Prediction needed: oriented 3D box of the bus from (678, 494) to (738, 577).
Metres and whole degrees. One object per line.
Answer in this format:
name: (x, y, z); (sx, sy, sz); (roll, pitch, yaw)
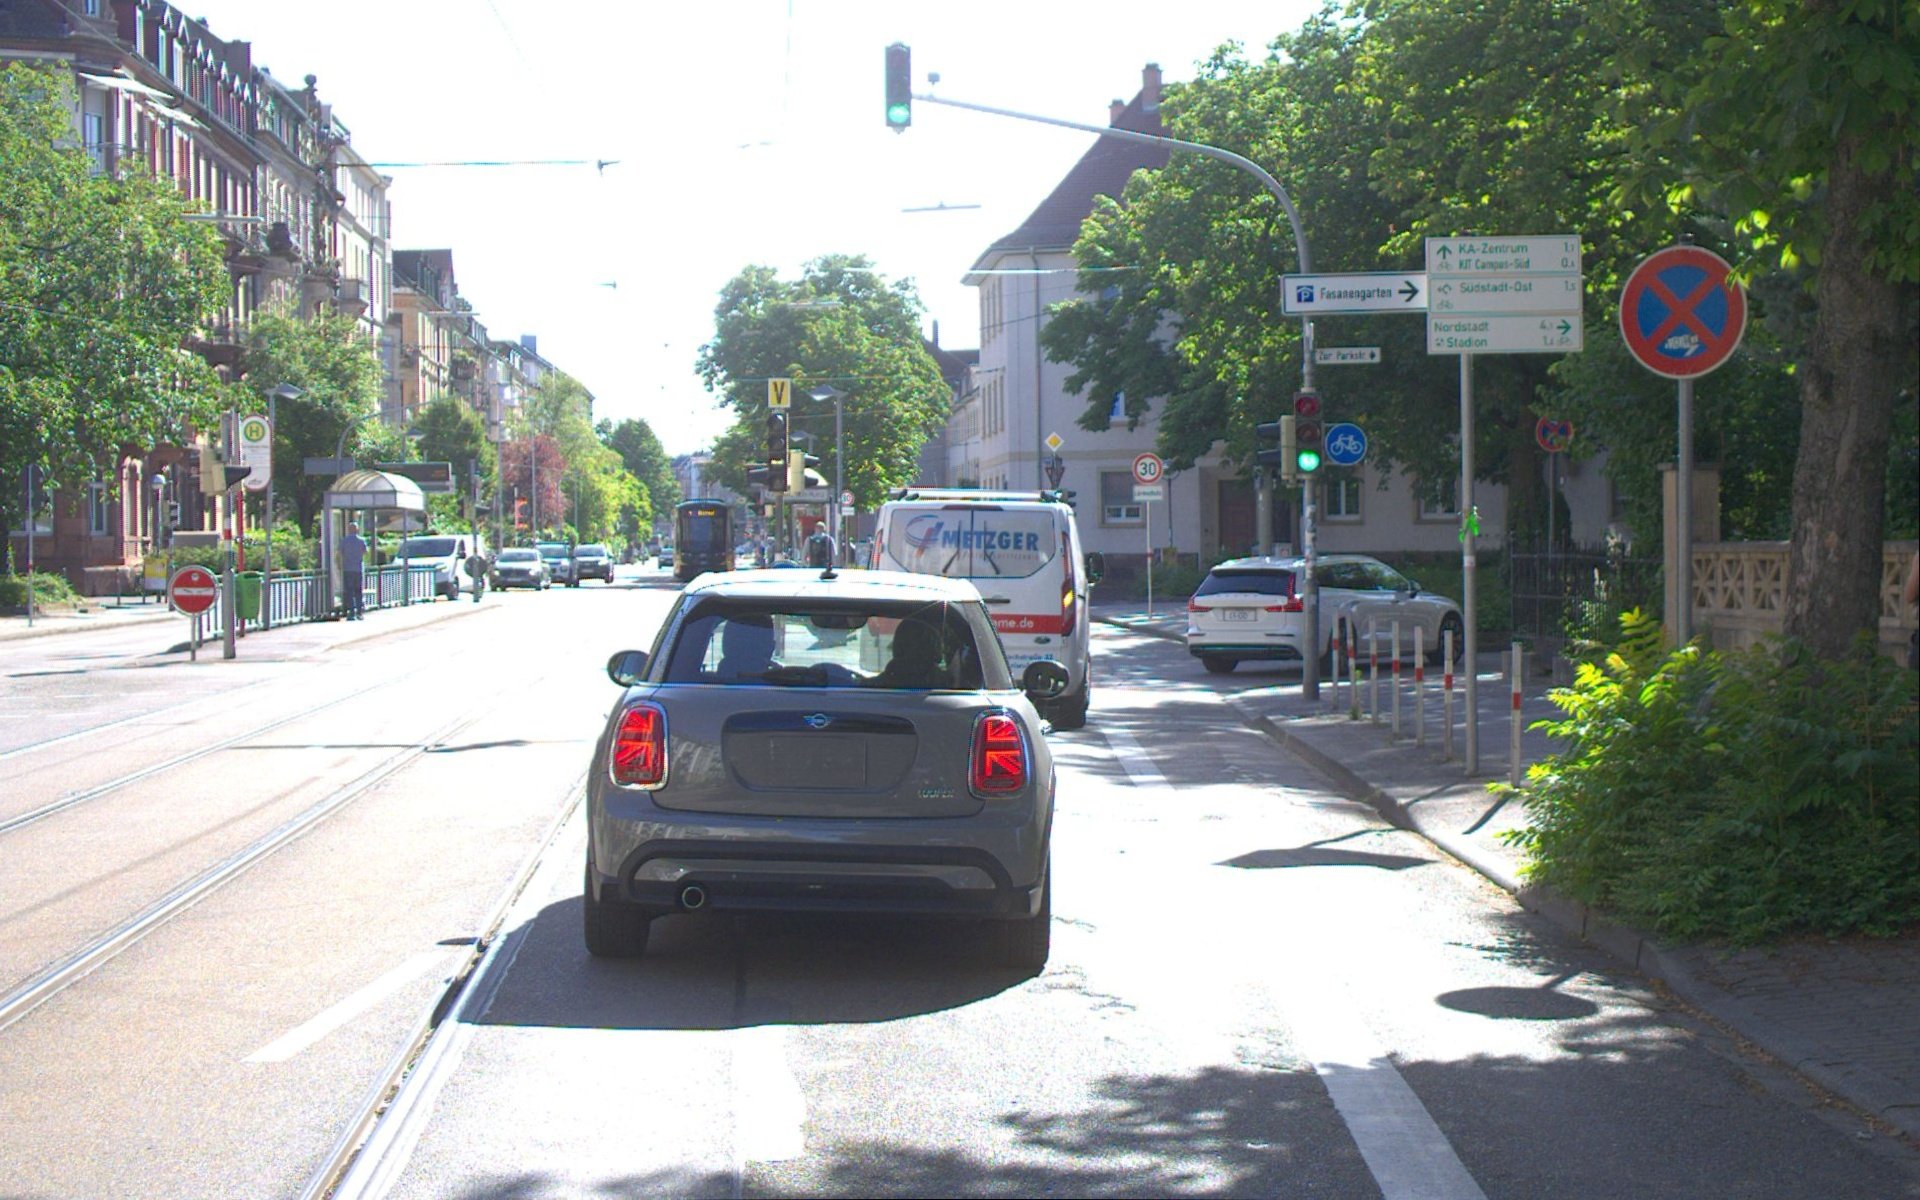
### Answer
bus: (-11.033, -2.767, 149.961); (2.385, 3.484, 7.386); (1, 0, -6)

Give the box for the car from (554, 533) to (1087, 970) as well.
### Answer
car: (-0.532, 0.507, 13.831); (1.815, 1.483, 4.000); (1, 0, -2)

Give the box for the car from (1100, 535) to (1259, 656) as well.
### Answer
car: (3.202, -0.079, 50.933); (1.993, 1.700, 4.000); (1, 0, -1)

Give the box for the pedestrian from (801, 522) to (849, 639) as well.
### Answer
pedestrian: (-2.343, -0.340, 59.441); (0.795, 2.007, 0.740); (1, 0, -3)

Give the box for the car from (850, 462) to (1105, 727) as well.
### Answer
car: (0.082, -0.064, 31.404); (2.118, 2.201, 4.945); (1, 0, -2)

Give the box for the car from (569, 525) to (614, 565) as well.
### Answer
car: (-15.387, -2.284, 143.723); (1.775, 1.612, 4.001); (1, 0, -5)

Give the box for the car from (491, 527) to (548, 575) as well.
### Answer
car: (-15.264, -1.698, 119.352); (1.775, 1.612, 4.001); (1, 0, -5)

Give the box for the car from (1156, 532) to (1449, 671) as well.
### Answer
car: (4.258, 0.010, 42.267); (1.997, 1.612, 3.993); (1, 0, 32)

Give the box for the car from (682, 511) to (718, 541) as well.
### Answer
car: (-13.837, -3.921, 182.631); (1.863, 1.558, 4.001); (1, 0, -5)

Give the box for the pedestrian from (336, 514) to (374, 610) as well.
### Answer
pedestrian: (-11.282, -0.713, 64.124); (0.577, 1.789, 0.608); (-1, 1, -19)

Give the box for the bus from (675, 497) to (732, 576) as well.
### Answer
bus: (-11.779, -2.862, 157.366); (2.385, 3.484, 7.386); (1, 0, -6)

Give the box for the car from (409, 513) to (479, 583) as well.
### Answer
car: (-15.311, -1.529, 102.115); (1.993, 2.007, 5.030); (1, 0, -8)

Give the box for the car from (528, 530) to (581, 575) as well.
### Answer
car: (-15.021, -1.751, 127.511); (1.775, 1.612, 4.001); (1, 0, -5)

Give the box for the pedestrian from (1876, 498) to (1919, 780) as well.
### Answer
pedestrian: (5.905, 0.219, 20.612); (0.592, 1.665, 0.647); (-2, 0, -1)
